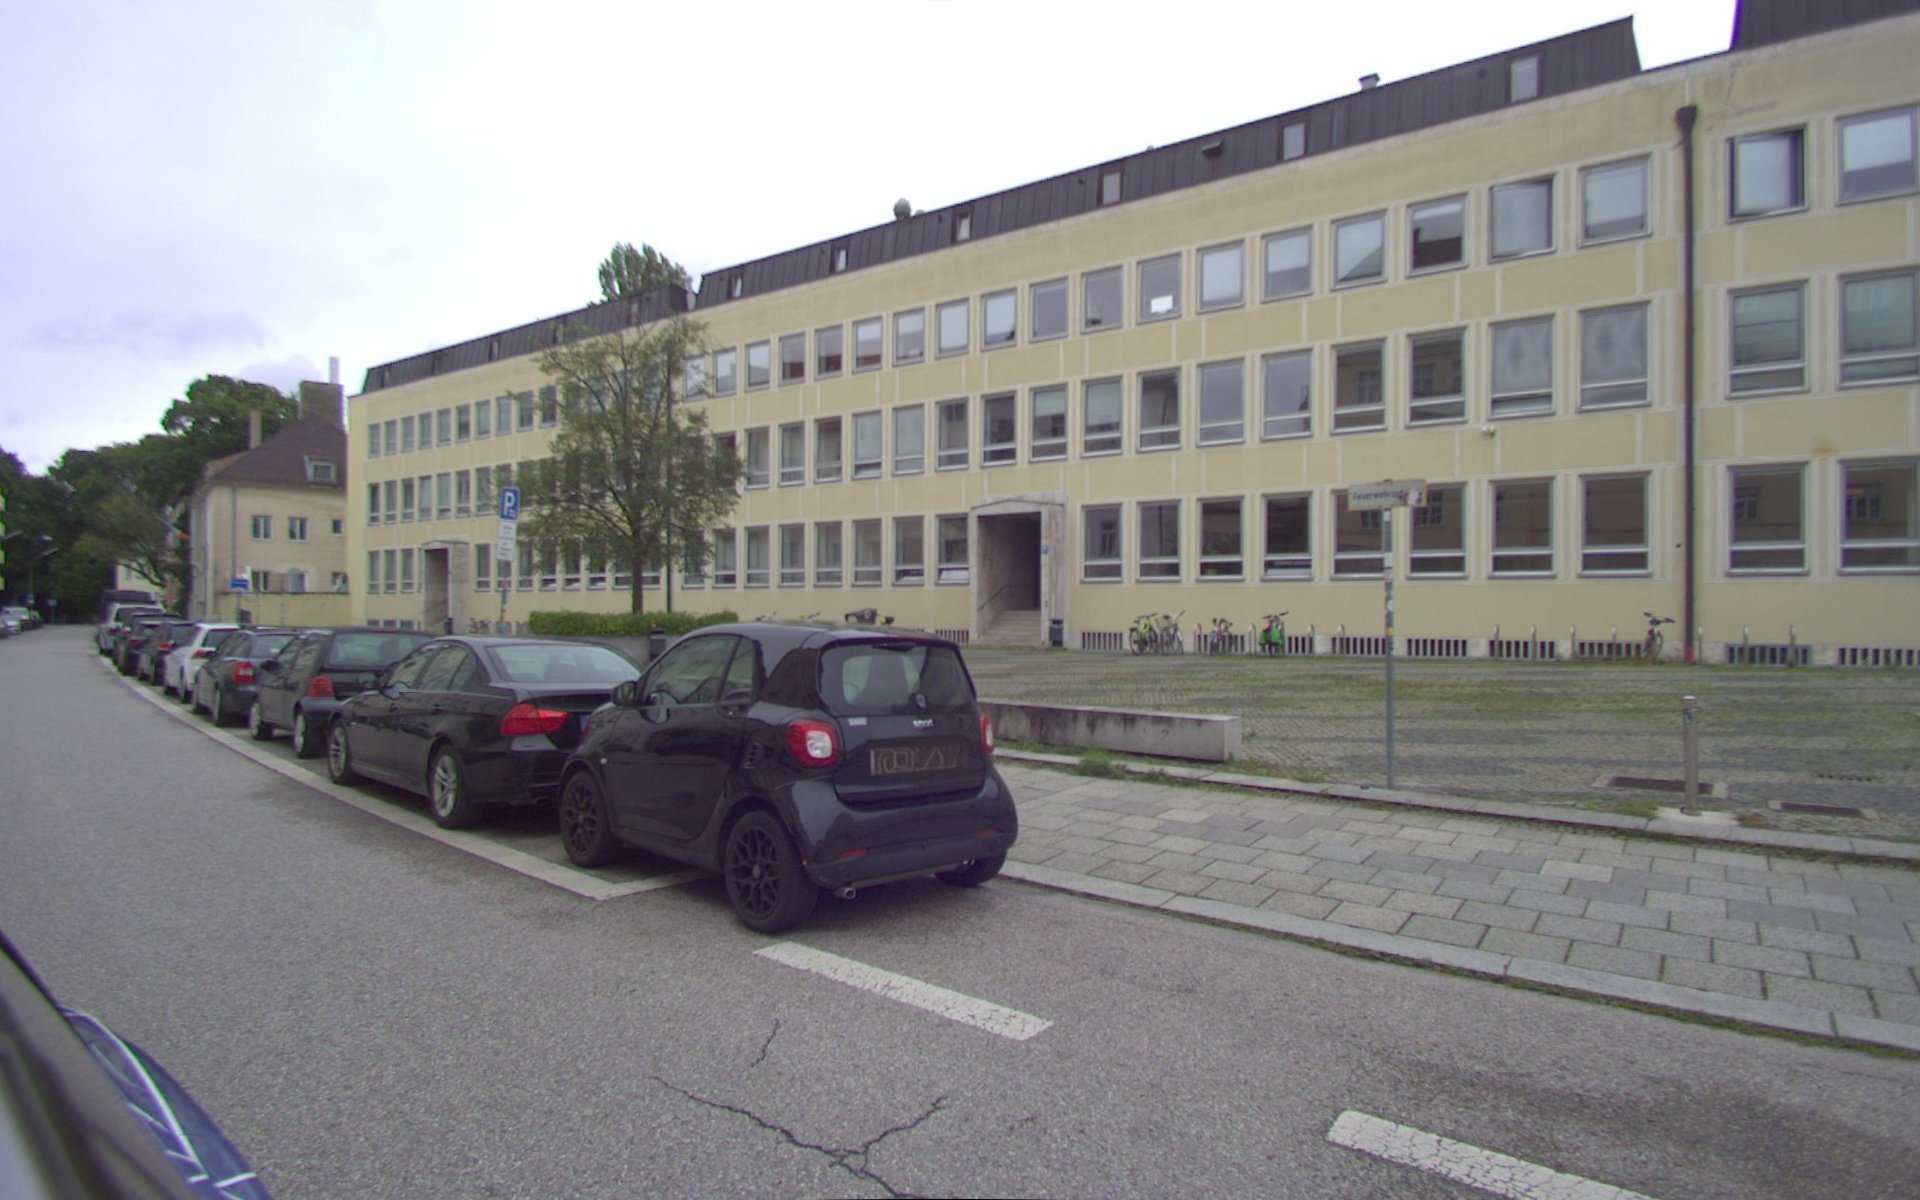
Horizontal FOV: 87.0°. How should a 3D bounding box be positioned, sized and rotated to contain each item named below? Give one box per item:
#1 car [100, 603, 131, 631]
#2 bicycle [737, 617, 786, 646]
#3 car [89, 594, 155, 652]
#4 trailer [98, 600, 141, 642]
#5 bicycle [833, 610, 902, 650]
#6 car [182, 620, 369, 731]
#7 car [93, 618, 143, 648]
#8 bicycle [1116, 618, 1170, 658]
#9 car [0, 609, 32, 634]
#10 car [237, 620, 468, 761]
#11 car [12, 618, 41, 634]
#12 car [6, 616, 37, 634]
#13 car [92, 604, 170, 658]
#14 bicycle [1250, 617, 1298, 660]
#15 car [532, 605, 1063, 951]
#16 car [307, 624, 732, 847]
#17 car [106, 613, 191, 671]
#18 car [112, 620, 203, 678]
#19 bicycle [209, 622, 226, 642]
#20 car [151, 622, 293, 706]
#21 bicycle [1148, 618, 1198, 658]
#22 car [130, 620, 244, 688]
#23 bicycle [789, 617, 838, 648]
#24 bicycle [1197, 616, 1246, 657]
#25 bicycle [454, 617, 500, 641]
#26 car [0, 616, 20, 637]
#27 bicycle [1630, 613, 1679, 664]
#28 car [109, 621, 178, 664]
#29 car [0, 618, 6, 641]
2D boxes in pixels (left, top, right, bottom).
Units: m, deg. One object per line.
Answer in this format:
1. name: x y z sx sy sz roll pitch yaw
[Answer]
1. car: -75.841 1.522 90.951 2.072 2.450 4.557 0 -1 -39
2. bicycle: -7.162 1.128 36.599 0.623 1.022 1.932 -1 -1 31
3. car: -40.825 1.106 49.324 2.268 2.666 5.662 2 -2 -40
4. trailer: -54.664 1.368 65.871 1.789 2.555 3.396 5 -3 -36
5. bicycle: -3.063 0.984 33.737 1.053 1.258 2.416 -1 -1 31
6. car: -10.666 1.057 15.636 1.734 1.465 4.401 3 -3 -42
7. car: -44.145 1.718 53.056 3.491 1.505 1.682 -1 -1 44
8. bicycle: 5.013 1.016 27.647 0.624 1.022 1.928 -1 -1 38
9. car: -80.348 1.813 86.068 1.843 2.029 4.275 0 -1 -40
10. car: -7.440 0.990 12.281 1.637 1.465 3.314 3 -3 -44
11. car: -90.521 2.457 98.158 1.843 1.475 4.275 0 -1 -40
12. car: -83.874 2.204 90.472 1.843 1.475 4.275 0 -1 -40
13. car: -32.223 1.172 39.289 1.905 1.994 5.026 2 -2 -44
14. bicycle: 8.030 0.964 25.821 0.624 1.022 1.930 -1 -1 34
15. car: -1.075 0.826 6.076 2.977 1.513 1.652 -1 -3 43
16. car: -3.985 0.940 8.730 4.457 1.416 1.779 -1 -3 44
17. car: -25.520 1.294 31.759 1.722 1.679 4.454 5 -4 -42
18. car: -22.013 1.299 27.722 1.660 1.465 3.874 3 -3 -42
19. bicycle: -43.263 1.838 58.963 0.572 1.140 1.745 0 -1 -43
20. car: -14.423 1.175 19.694 1.637 1.465 4.076 3 -3 -44
21. bicycle: 5.763 0.995 27.287 0.624 1.022 1.930 -1 -1 34
22. car: -18.465 1.233 24.105 1.637 1.465 3.977 3 -3 -44
23. bicycle: -5.114 1.126 35.375 0.623 1.022 1.932 -1 -1 31
24. bicycle: 6.953 0.956 26.847 0.624 1.022 1.930 -1 -1 34
25. bicycle: -22.687 1.363 47.577 0.579 1.022 1.932 -1 0 31
26. car: -70.450 1.964 74.500 1.740 1.468 3.752 0 -1 -42
27. bicycle: 14.873 0.807 21.654 0.625 1.022 1.926 -1 -1 42
28. car: -28.952 1.455 35.835 1.722 1.398 3.923 -1 0 -41
29. car: -62.818 1.908 65.299 1.740 1.468 3.752 0 -1 -42
